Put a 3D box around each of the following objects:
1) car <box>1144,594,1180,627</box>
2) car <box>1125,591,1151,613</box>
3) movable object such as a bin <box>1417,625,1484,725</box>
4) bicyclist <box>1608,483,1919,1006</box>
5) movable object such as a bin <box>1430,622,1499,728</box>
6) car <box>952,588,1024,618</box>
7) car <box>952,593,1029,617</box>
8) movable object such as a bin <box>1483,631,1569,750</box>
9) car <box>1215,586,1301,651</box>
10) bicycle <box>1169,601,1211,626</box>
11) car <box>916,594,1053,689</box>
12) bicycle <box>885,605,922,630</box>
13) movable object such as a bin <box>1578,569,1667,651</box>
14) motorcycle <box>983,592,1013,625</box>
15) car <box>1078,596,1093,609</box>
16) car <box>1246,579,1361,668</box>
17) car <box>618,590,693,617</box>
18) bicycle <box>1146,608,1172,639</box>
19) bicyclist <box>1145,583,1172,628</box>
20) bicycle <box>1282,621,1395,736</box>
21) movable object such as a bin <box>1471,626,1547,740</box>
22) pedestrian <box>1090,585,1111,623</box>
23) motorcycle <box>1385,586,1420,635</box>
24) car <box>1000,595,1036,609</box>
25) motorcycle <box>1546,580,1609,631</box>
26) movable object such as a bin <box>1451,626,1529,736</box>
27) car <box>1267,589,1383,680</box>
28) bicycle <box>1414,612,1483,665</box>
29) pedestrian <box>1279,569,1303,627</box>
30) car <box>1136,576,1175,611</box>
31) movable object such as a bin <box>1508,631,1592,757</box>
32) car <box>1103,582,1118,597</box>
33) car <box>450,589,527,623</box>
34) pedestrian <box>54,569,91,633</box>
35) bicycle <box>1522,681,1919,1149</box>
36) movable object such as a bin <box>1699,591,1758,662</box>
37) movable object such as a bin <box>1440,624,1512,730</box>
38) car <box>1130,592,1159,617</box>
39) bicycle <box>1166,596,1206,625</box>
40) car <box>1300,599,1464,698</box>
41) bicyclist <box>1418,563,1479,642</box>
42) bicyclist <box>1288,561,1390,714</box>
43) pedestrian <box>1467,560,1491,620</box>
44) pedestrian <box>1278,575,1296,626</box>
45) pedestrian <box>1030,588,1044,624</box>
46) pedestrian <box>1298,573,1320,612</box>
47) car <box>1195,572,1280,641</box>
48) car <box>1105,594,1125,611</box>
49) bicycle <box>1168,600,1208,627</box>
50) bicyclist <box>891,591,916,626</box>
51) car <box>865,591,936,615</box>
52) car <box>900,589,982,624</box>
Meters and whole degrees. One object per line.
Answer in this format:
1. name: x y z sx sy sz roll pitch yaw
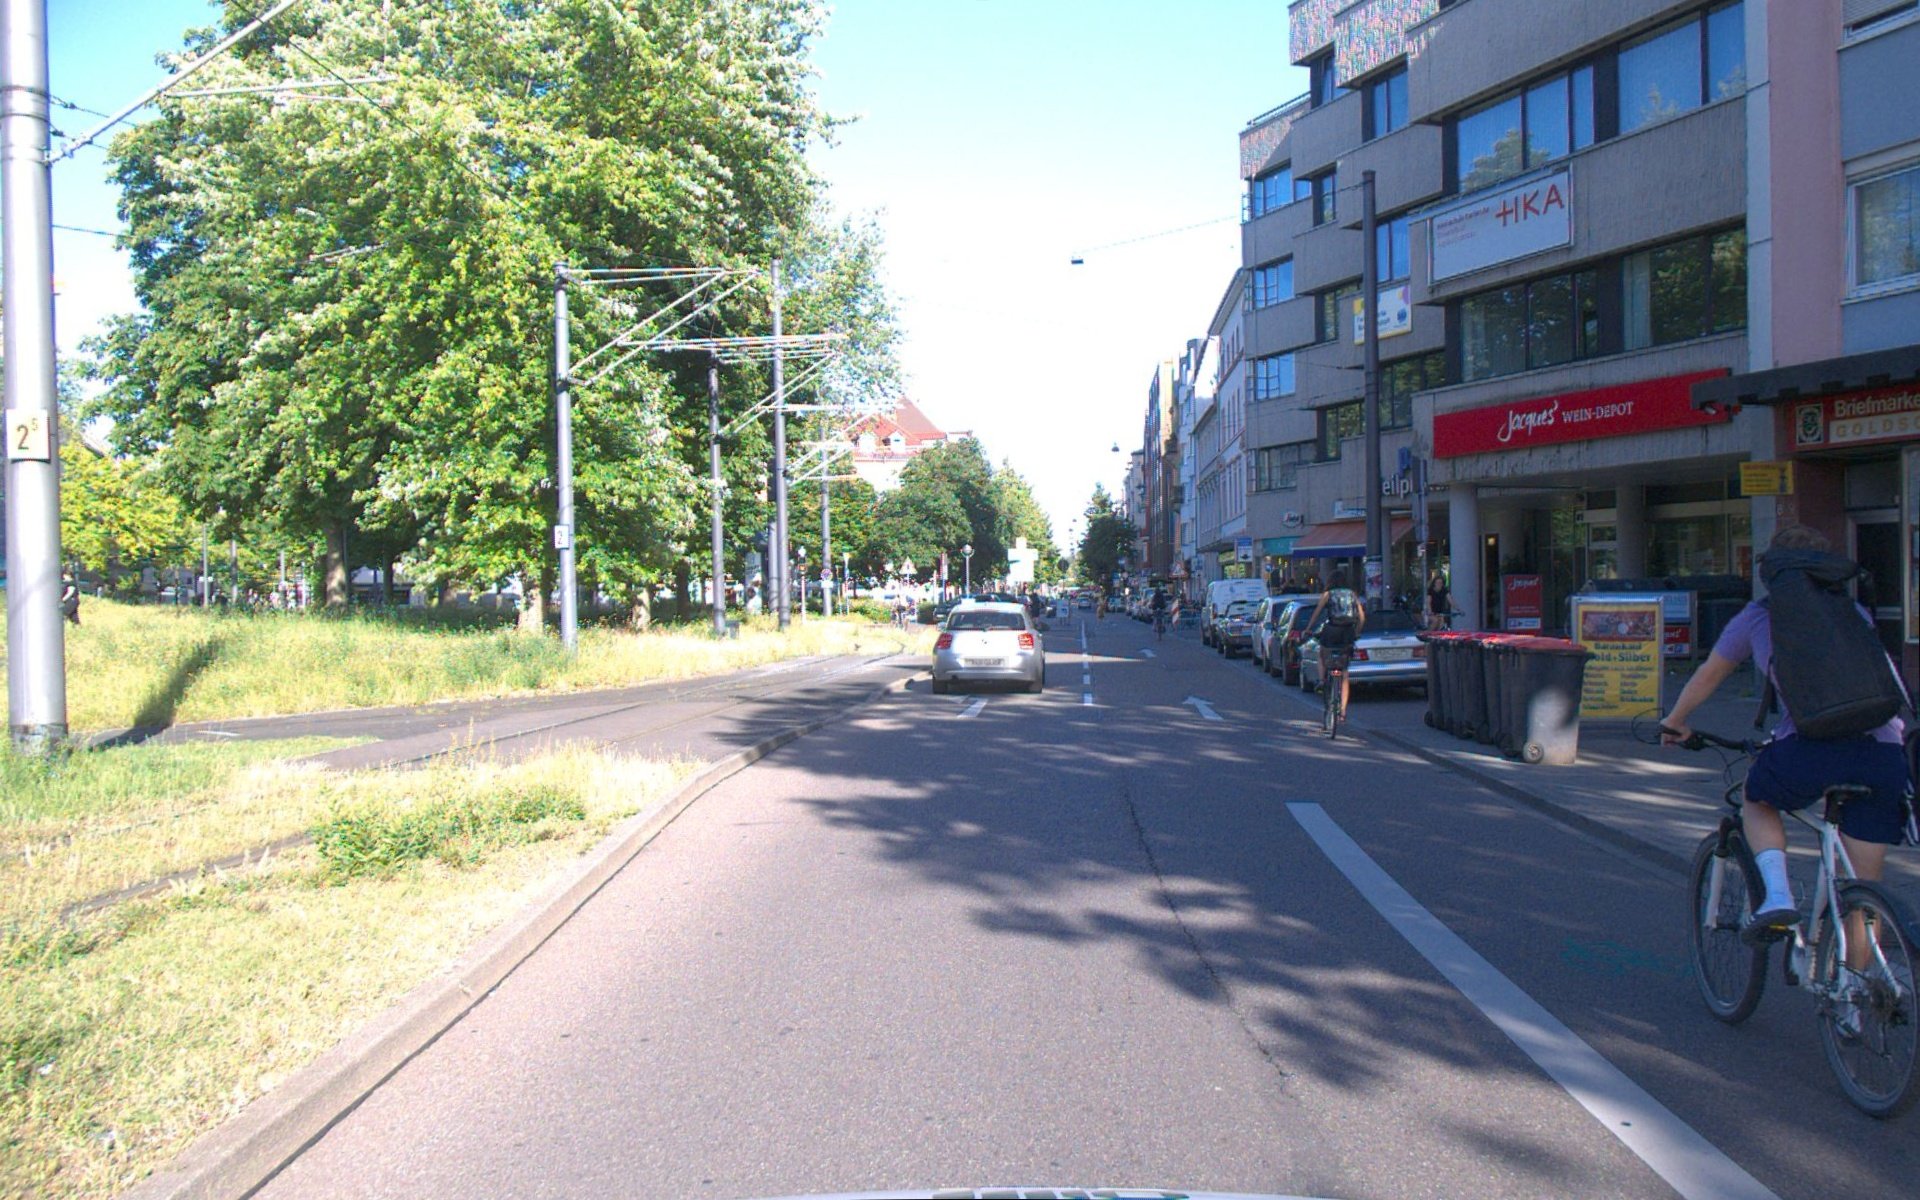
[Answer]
1. car: 11.016 0.591 90.483 1.708 1.769 4.962 0 -1 4
2. car: 14.183 0.171 131.673 1.859 1.704 4.827 0 -1 4
3. movable object such as a bin: 5.488 0.833 18.527 0.580 1.102 0.604 0 -1 1
4. bicyclist: 2.815 0.428 5.333 1.018 1.510 0.987 1 -1 -7
5. movable object such as a bin: 5.468 0.802 17.934 0.597 1.125 0.526 0 -1 0
6. car: 1.634 0.172 97.764 3.917 1.697 1.994 1 0 -12
7. car: 2.012 0.314 109.252 4.763 1.514 1.755 1 -1 -20
8. movable object such as a bin: 5.303 0.841 15.518 0.606 1.087 0.610 0 -1 1
9. car: 7.265 0.465 40.681 1.736 1.479 4.734 0 -1 6
10. bicycle: 9.697 0.560 69.772 1.668 1.022 0.428 0 -1 20
11. car: 0.490 0.668 27.489 1.951 1.448 4.199 0 -1 5
12. bicycle: -2.531 0.789 74.035 0.799 1.087 2.565 1 -1 -23
13. movable object such as a bin: 11.810 0.186 29.532 1.307 1.422 1.122 0 -1 12
14. motorcycle: 1.630 0.382 71.618 0.734 1.398 1.751 1 -1 -19
15. car: 15.854 0.289 208.796 1.831 1.583 4.002 0 -1 5
16. car: 7.075 0.488 34.407 1.812 1.718 3.869 0 -1 4
17. car: -23.810 0.311 129.252 5.499 2.049 1.805 1 -1 -23
18. bicycle: 6.508 0.777 54.238 0.639 0.975 2.699 0 -1 3
19. bicyclist: 6.519 0.187 54.354 0.770 1.478 1.096 0 -1 3
20. bicycle: 4.281 0.852 18.585 0.803 1.206 1.962 0 -1 27
21. movable object such as a bin: 5.340 0.803 16.101 0.579 1.087 0.496 0 -1 0
22. pedestrian: 6.449 0.206 76.031 0.660 1.729 0.798 1 -1 -27
23. motorcycle: 11.280 0.284 42.208 0.747 1.175 2.049 -3 -2 14
24. car: 6.420 0.208 182.080 3.903 1.534 1.895 0 -1 5
25. motorcycle: 14.893 0.126 39.943 0.501 1.188 2.098 1 1 -7
26. movable object such as a bin: 5.342 0.804 16.689 0.593 1.087 0.613 0 -1 0
27. car: 6.643 0.620 30.440 1.635 1.545 4.202 0 -1 6
28. bicycle: 8.548 0.666 29.005 0.523 0.907 2.069 0 -1 -2
29. pedestrian: 11.085 -0.066 55.454 0.656 1.888 0.611 -3 -2 7
30. car: 11.883 -0.407 100.902 1.952 2.040 5.119 -1 0 3
31. movable object such as a bin: 5.288 0.834 14.839 0.561 1.101 0.570 0 -1 1
32. car: 20.859 -1.439 229.097 1.952 2.049 4.002 0 0 4
33. car: -34.166 0.462 119.909 5.256 2.355 1.989 1 -1 -19
34. pedestrian: -23.189 0.026 43.217 0.545 1.644 0.671 -1 -2 42
35. bicycle: 2.793 0.890 5.536 0.868 1.156 2.225 1 -1 -6
36. movable object such as a bin: 12.689 0.439 27.326 0.727 1.154 0.723 0 -1 10
37. movable object such as a bin: 5.415 0.798 17.368 0.592 1.087 0.545 0 -1 1
38. car: 12.265 0.294 110.369 1.682 1.541 3.584 -3 -1 4
39. bicycle: 9.733 0.454 71.238 1.589 1.265 0.659 0 -1 24
40. car: 6.334 0.708 25.296 1.812 1.367 4.602 0 -1 6
41. bicyclist: 8.558 0.049 29.001 0.743 1.349 0.994 0 -1 -2
42. bicyclist: 4.278 0.415 18.619 0.921 1.662 0.934 0 -1 27
43. pedestrian: 16.145 -0.307 51.459 0.689 1.848 0.717 0 -1 19
44. pedestrian: 11.117 0.018 56.246 0.571 1.744 0.698 0 -1 7
45. pedestrian: 3.648 0.297 78.680 0.622 1.701 0.693 0 -1 5
46. pedestrian: 11.716 -0.260 55.501 0.616 1.258 0.625 -3 -2 7
47. car: 7.846 0.202 47.027 1.952 1.844 4.311 0 -1 4
48. car: 16.205 0.246 172.758 1.951 1.646 4.012 1 -1 6
49. bicycle: 9.558 0.566 69.414 1.644 1.081 0.343 0 -1 20
50. bicyclist: -2.526 0.381 74.041 0.916 1.534 0.819 1 -1 -23
51. car: -4.738 0.228 131.369 5.191 1.831 2.148 1 -1 -23
52. car: -0.972 0.317 84.435 3.814 1.711 1.795 -1 -1 -28
